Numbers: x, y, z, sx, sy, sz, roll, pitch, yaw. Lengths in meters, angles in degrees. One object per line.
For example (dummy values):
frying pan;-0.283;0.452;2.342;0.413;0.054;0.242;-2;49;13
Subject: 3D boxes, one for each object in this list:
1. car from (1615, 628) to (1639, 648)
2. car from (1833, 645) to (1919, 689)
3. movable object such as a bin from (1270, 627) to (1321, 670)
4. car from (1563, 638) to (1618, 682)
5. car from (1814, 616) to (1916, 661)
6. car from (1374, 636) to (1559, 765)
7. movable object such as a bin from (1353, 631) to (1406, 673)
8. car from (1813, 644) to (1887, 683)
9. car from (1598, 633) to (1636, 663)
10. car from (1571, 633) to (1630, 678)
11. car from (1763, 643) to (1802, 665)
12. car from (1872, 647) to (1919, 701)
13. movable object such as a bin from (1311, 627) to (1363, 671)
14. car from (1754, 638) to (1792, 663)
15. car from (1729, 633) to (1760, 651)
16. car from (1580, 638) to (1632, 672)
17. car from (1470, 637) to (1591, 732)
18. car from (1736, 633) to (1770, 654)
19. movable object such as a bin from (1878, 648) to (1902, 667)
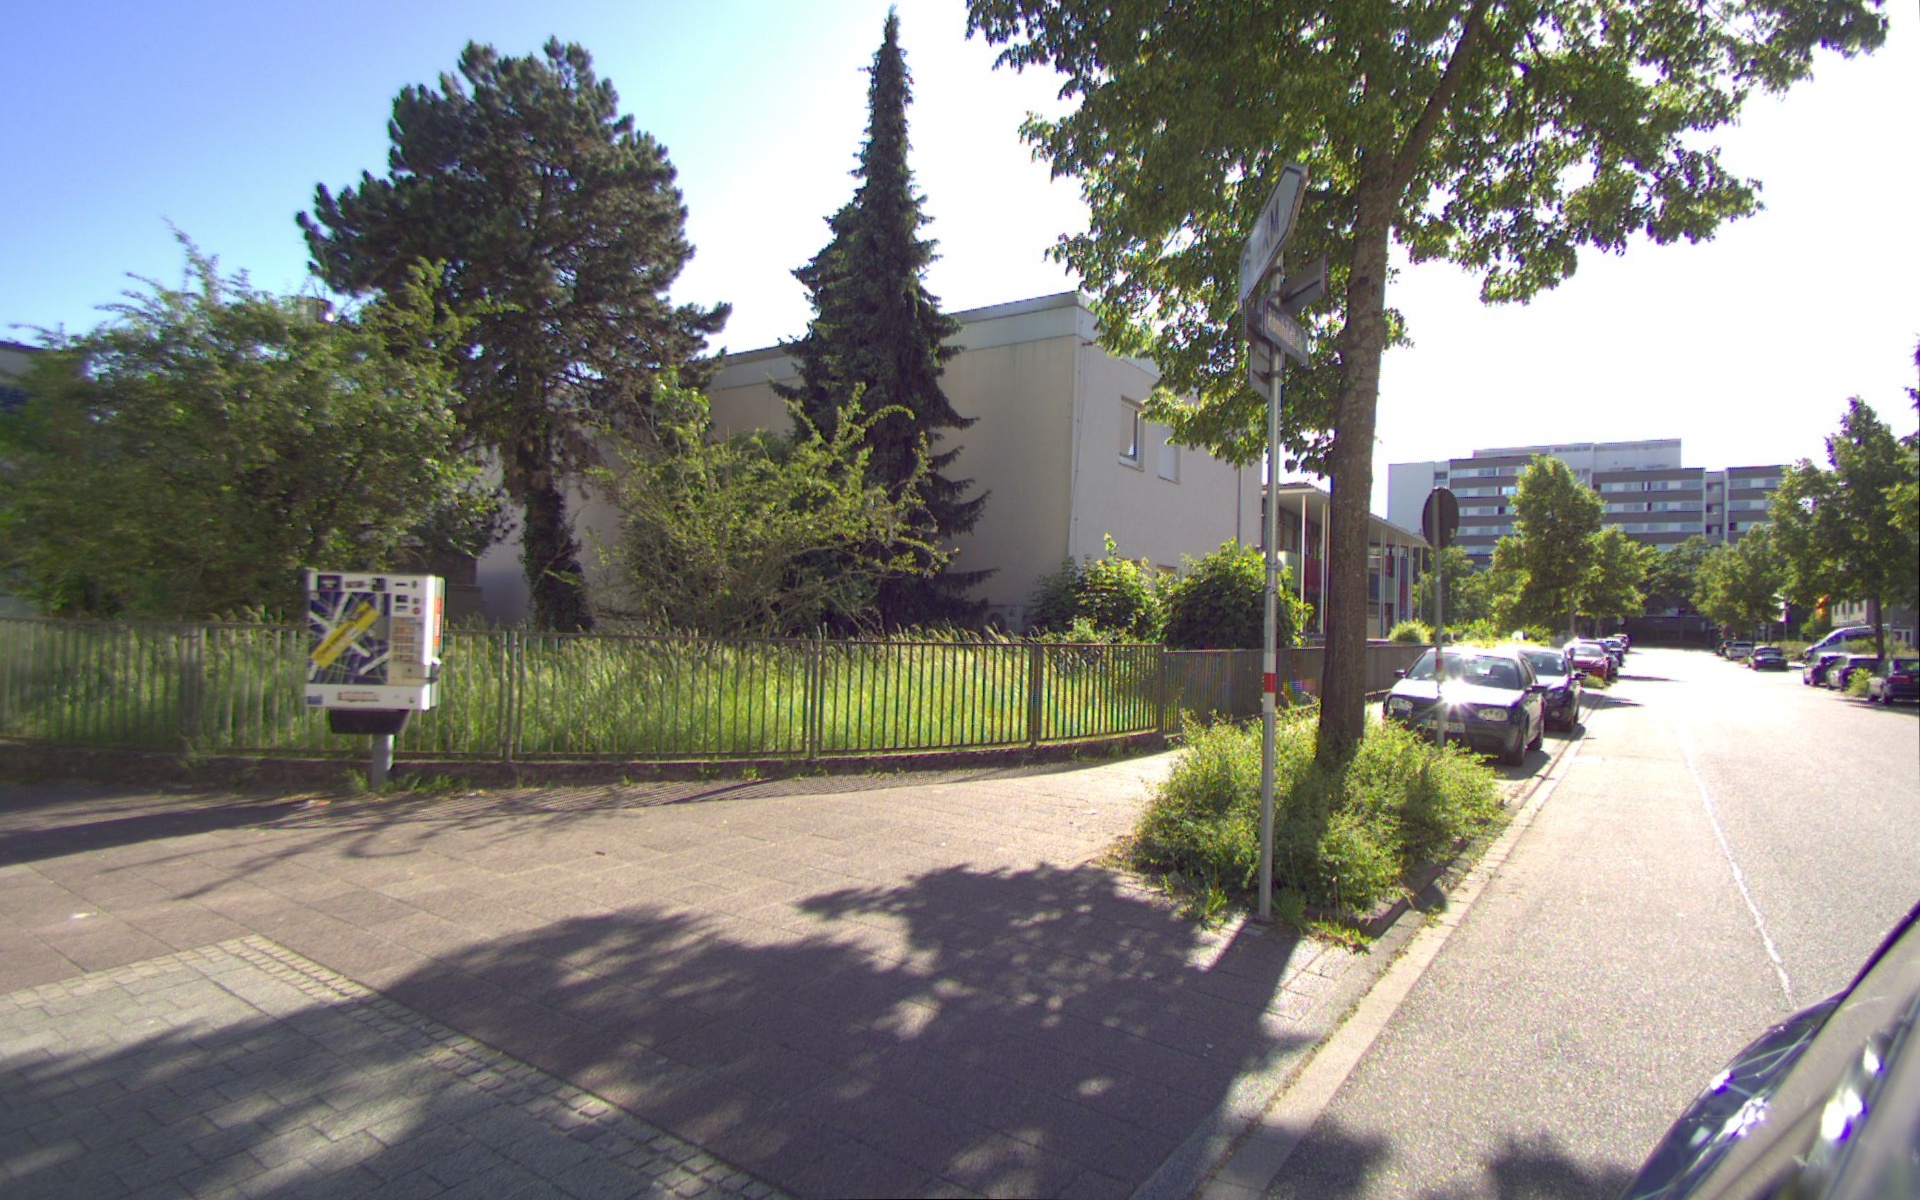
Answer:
car;60.547;3.433;91.864;1.636;1.484;3.658;5;3;34
car;34.511;2.472;38.211;1.834;1.493;3.976;-1;-2;34
movable object such as a bin;12.212;1.739;36.776;1.326;1.467;1.610;1;-1;36
car;24.302;2.272;38.949;1.669;1.523;3.799;1;-2;34
car;64.849;2.723;72.648;5.115;2.939;1.991;1;-1;32
car;7.333;1.281;14.411;1.741;1.440;4.367;0;-1;35
movable object such as a bin;14.538;1.782;35.085;1.362;1.375;1.610;1;-1;36
car;37.897;2.659;43.178;1.834;1.493;4.048;-1;-2;34
car;41.545;2.997;63.977;1.813;1.668;4.432;5;1;34
car;27.645;2.334;43.611;1.895;1.704;4.354;3;0;35
car;50.834;3.332;62.615;1.622;1.263;3.516;1;-2;35
car;29.064;2.186;30.432;1.834;1.493;4.305;-1;-2;34
movable object such as a bin;13.412;1.711;35.959;1.362;1.467;1.610;1;-1;36
car;53.956;3.353;67.195;1.621;1.544;3.518;1;-2;34
car;70.180;3.721;90.530;1.783;1.537;3.845;0;-2;32
car;31.400;2.643;49.308;1.954;1.336;4.722;4;1;31
car;11.032;1.519;19.444;1.777;1.535;3.951;1;-1;33
car;65.192;3.550;83.274;1.783;1.620;3.845;0;-2;32
movable object such as a bin;53.242;3.292;57.968;0.856;1.051;0.670;-3;-3;33
